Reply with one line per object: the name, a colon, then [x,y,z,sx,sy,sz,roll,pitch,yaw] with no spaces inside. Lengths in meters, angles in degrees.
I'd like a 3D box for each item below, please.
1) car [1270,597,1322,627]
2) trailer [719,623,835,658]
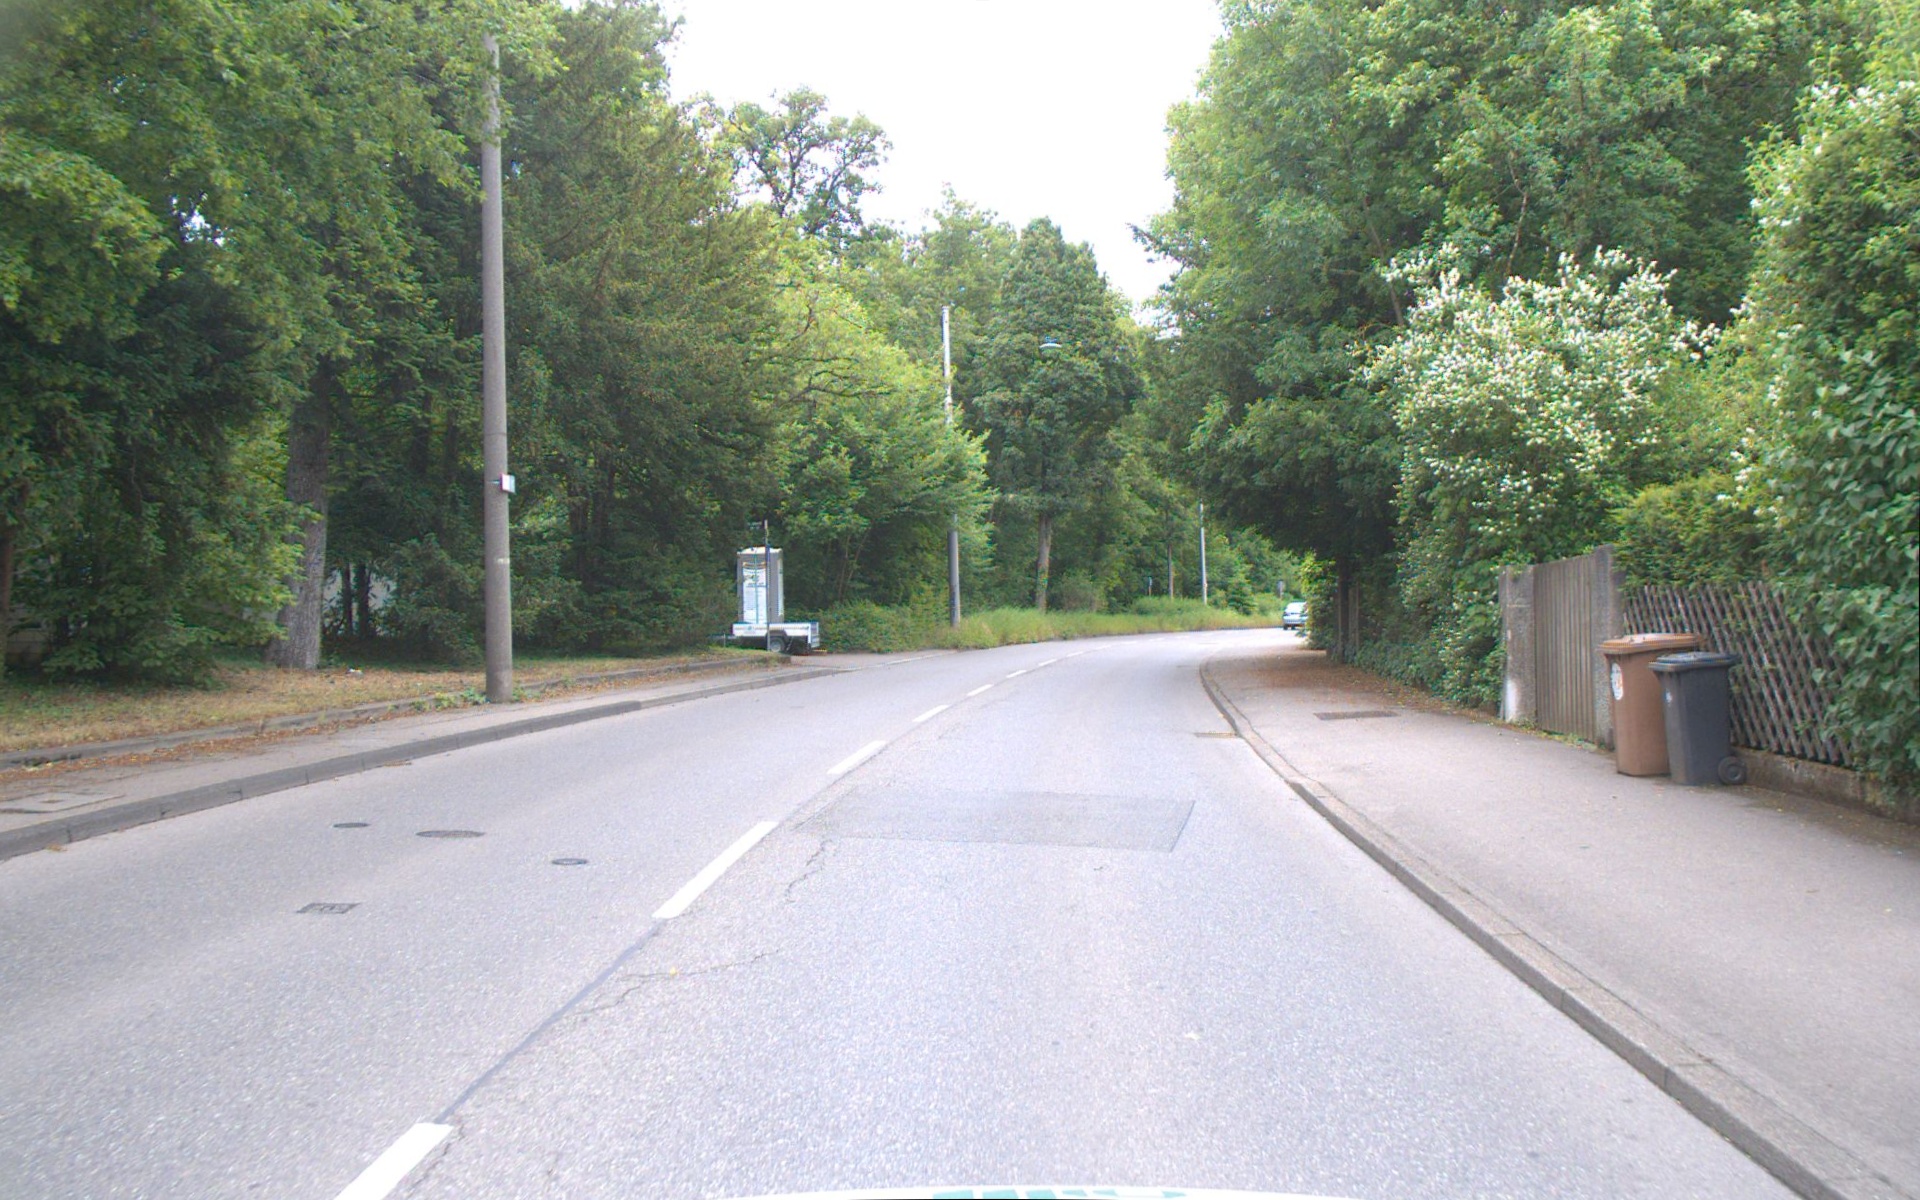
car: [18.039,0.638,88.573,1.953,1.512,3.999,-1,-1,23]
trailer: [-4.763,1.051,43.348,2.895,0.843,1.475,-1,-1,-2]
